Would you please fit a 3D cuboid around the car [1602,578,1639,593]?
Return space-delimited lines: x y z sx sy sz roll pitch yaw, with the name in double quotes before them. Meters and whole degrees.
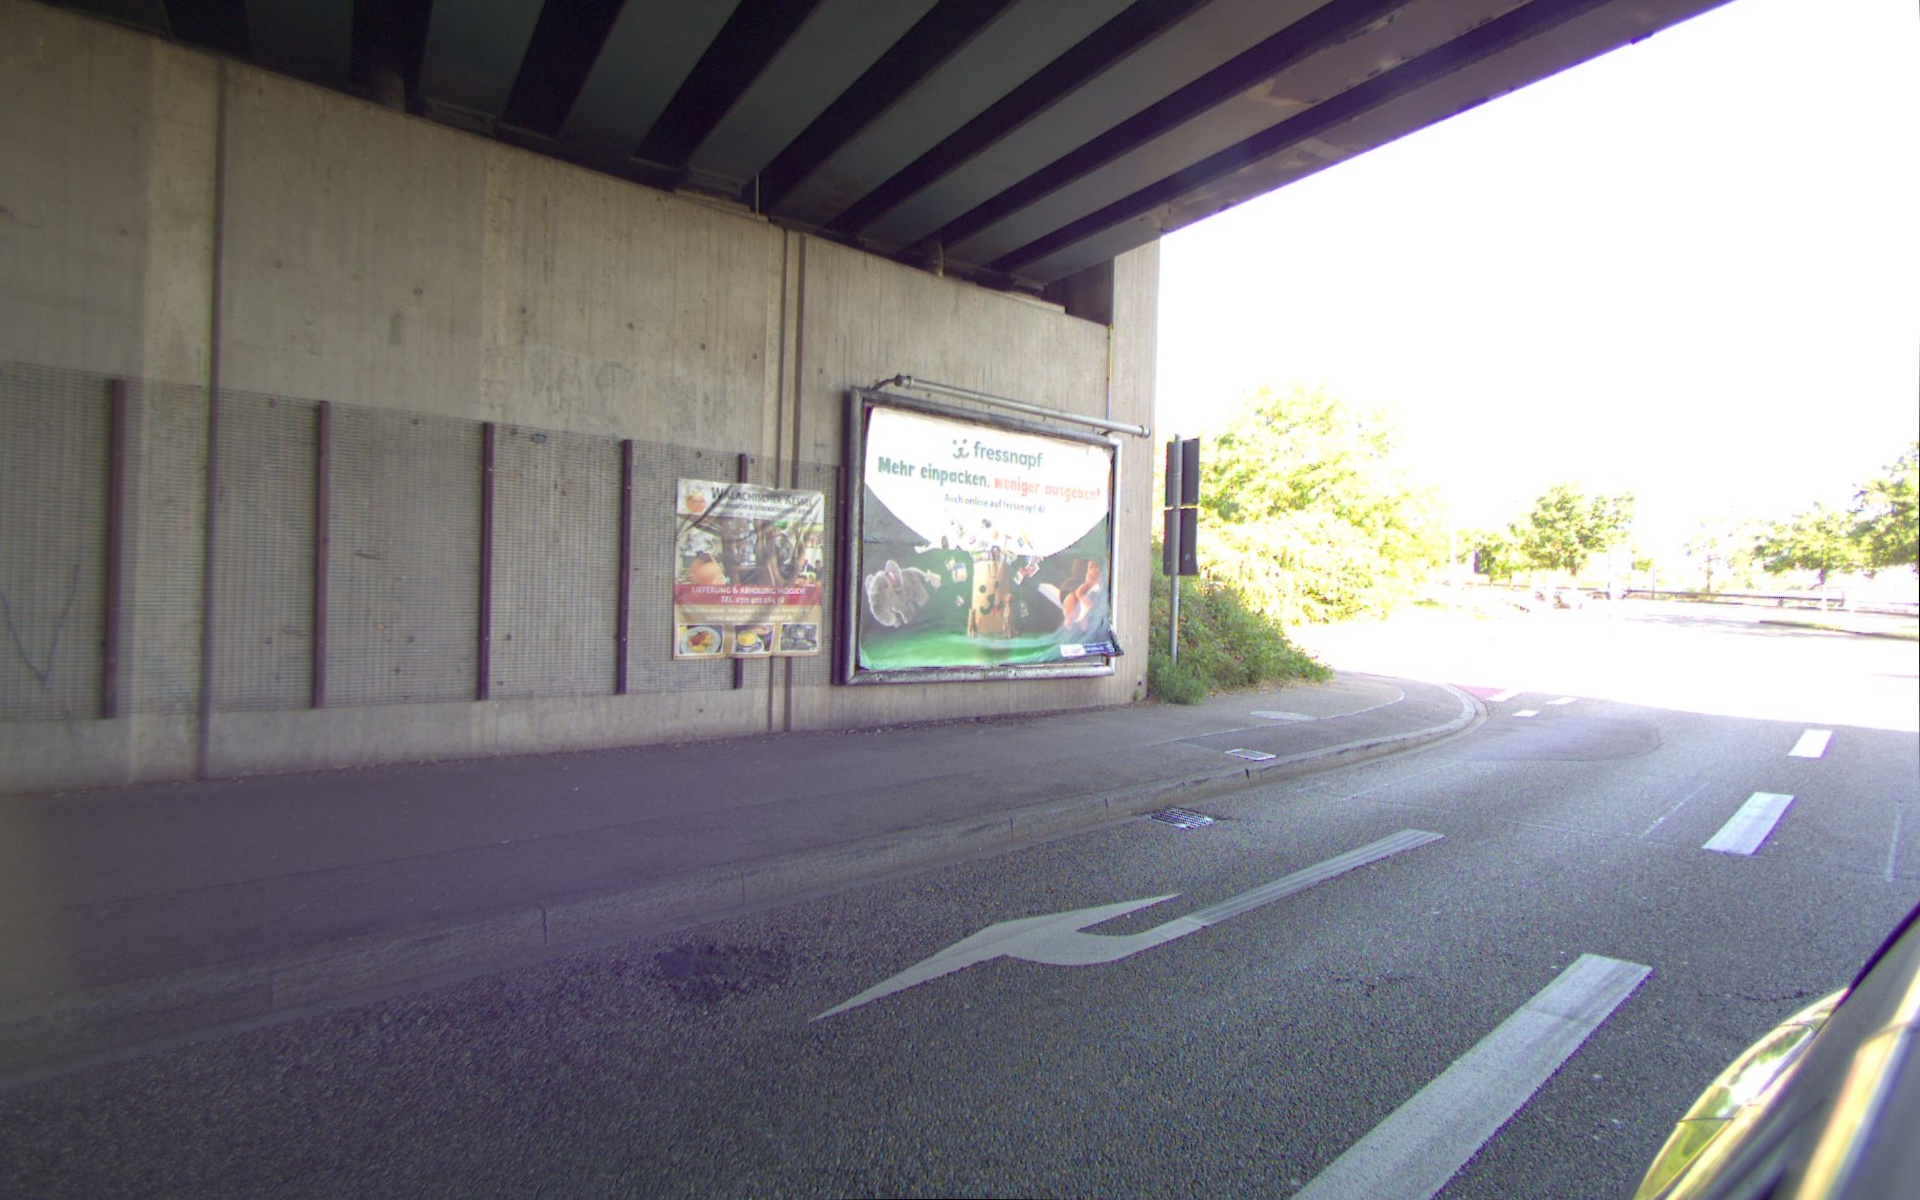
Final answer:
"car" 62.973 -1.387 96.494 1.724 1.297 4.162 3 2 16

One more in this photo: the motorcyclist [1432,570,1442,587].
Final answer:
"motorcyclist" 67.355 -3.022 142.882 1.091 2.269 1.179 0 0 10

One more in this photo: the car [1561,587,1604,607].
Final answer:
"car" 48.370 -0.241 78.734 1.715 1.438 4.296 2 0 16

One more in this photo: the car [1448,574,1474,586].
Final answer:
"car" 62.761 -2.531 126.848 1.828 1.498 4.216 0 1 11
